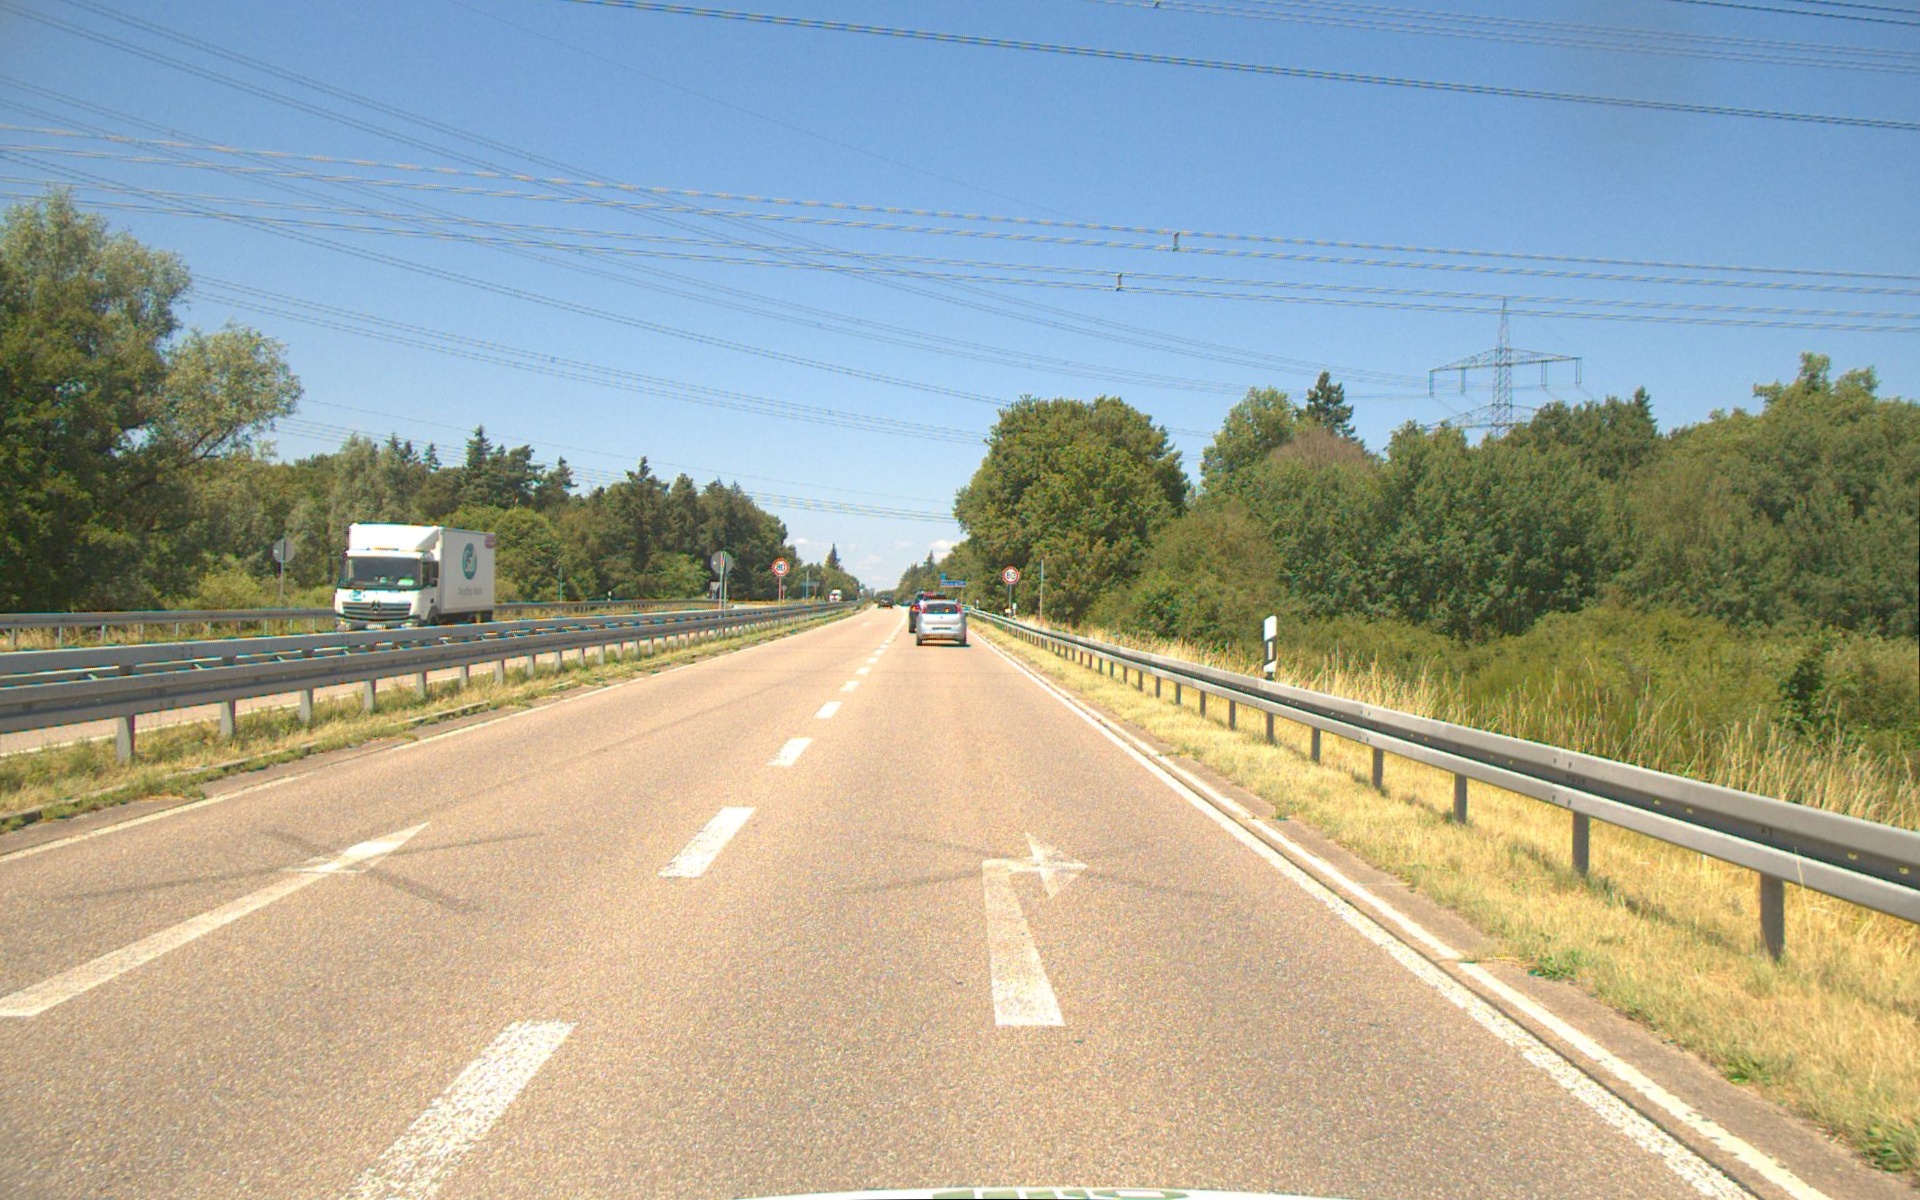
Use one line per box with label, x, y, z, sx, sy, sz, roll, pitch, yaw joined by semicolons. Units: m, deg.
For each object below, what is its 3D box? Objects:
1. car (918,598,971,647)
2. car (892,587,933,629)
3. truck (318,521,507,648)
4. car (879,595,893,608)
car;-0.547;0.725;54.636;1.607;1.493;3.418;3;0;-2
car;-2.102;0.344;72.395;1.608;1.682;3.572;3;0;-3
truck;-15.214;-0.400;46.686;2.663;3.249;8.403;1;0;-1
car;-9.018;0.150;201.555;1.678;1.497;3.572;3;0;-2
